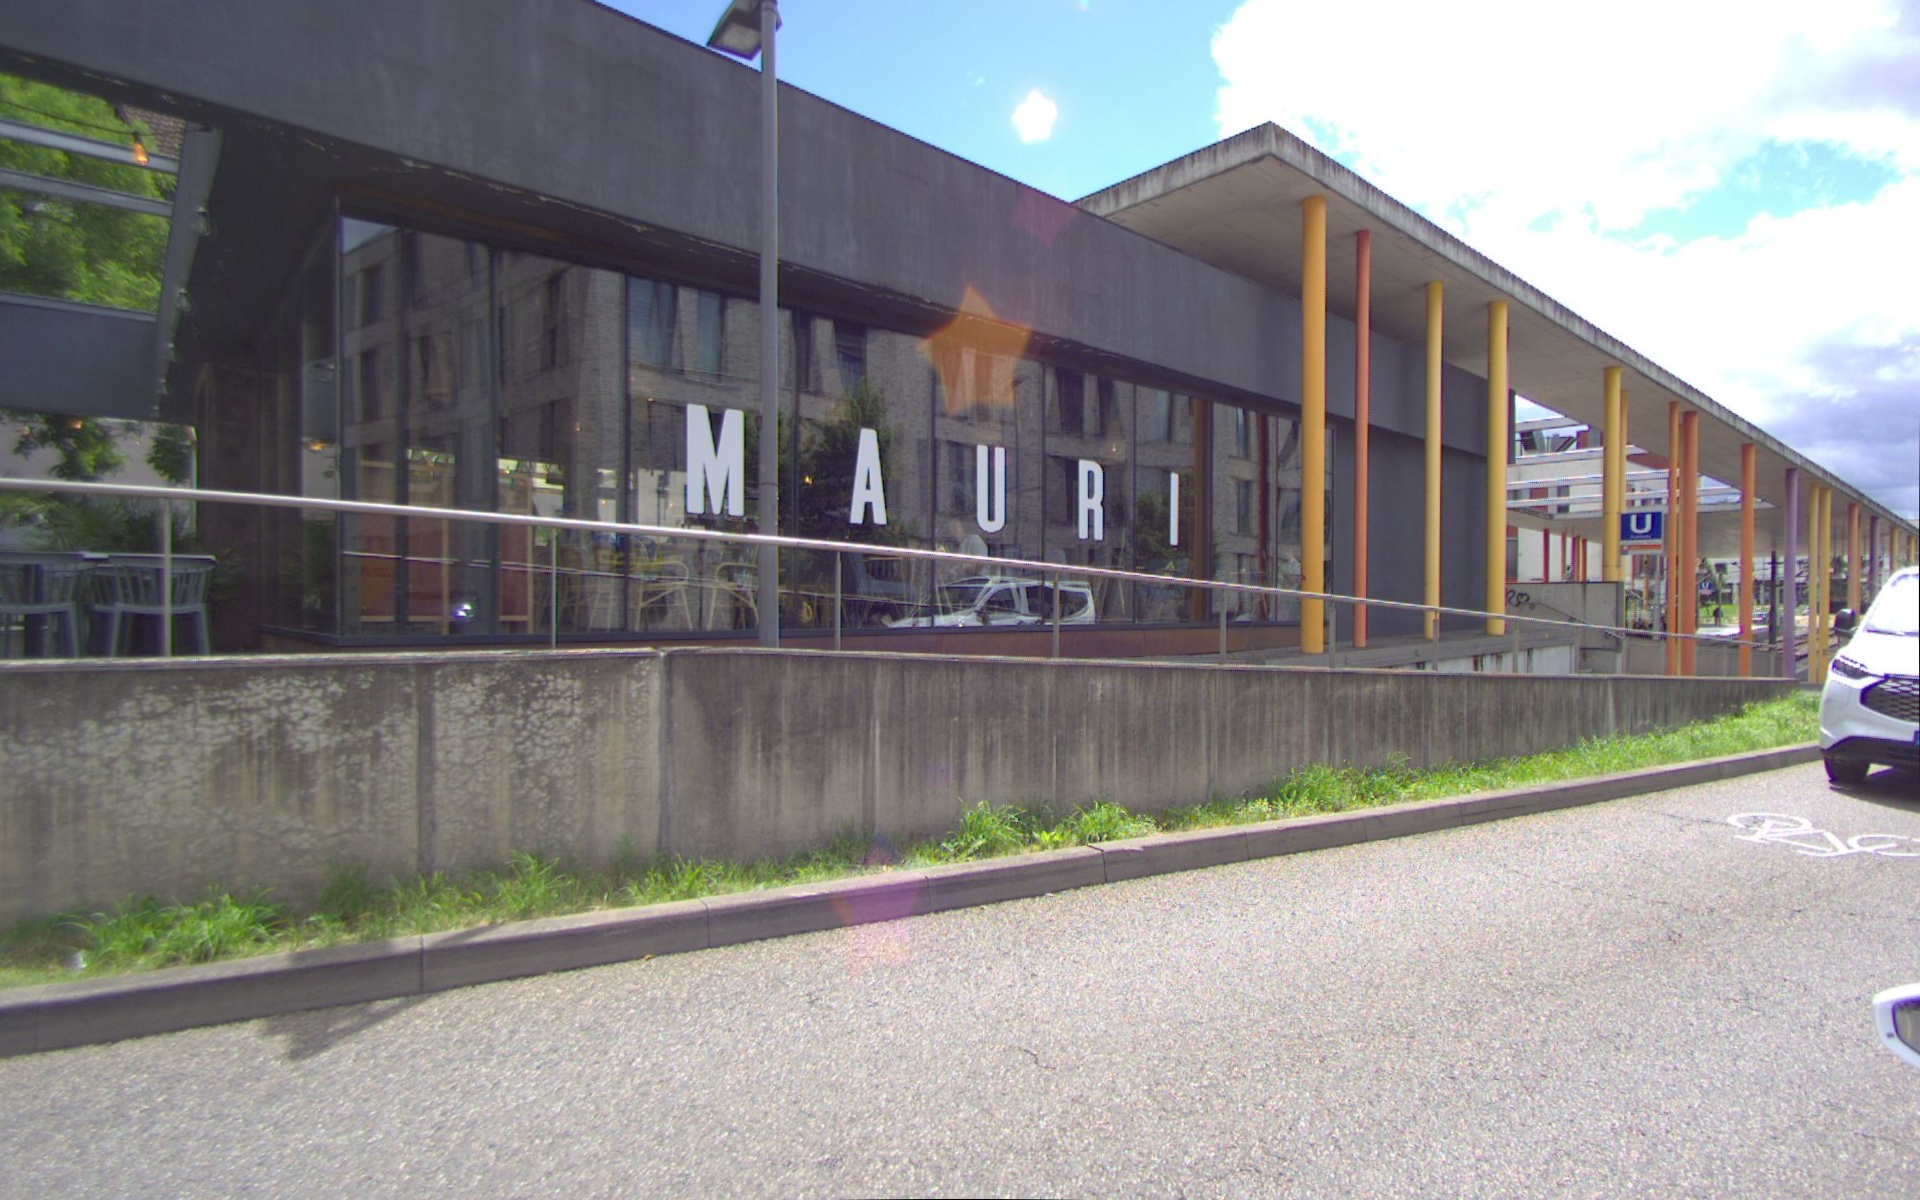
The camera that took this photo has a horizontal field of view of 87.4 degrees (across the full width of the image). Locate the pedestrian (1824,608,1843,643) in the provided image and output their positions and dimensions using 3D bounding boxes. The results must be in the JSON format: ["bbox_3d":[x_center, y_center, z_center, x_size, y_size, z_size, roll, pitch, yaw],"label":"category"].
[{"bbox_3d":[46.198,1.332,53.125,0.589,1.832,0.636,2,0,-42],"label":"pedestrian"}]

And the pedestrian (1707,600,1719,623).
[{"bbox_3d":[63.141,0.962,84.209,0.589,1.832,0.636,2,0,-42],"label":"pedestrian"}]

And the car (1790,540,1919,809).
[{"bbox_3d":[9.572,0.614,9.031,5.343,2.041,1.979,1,2,-37],"label":"car"}]
